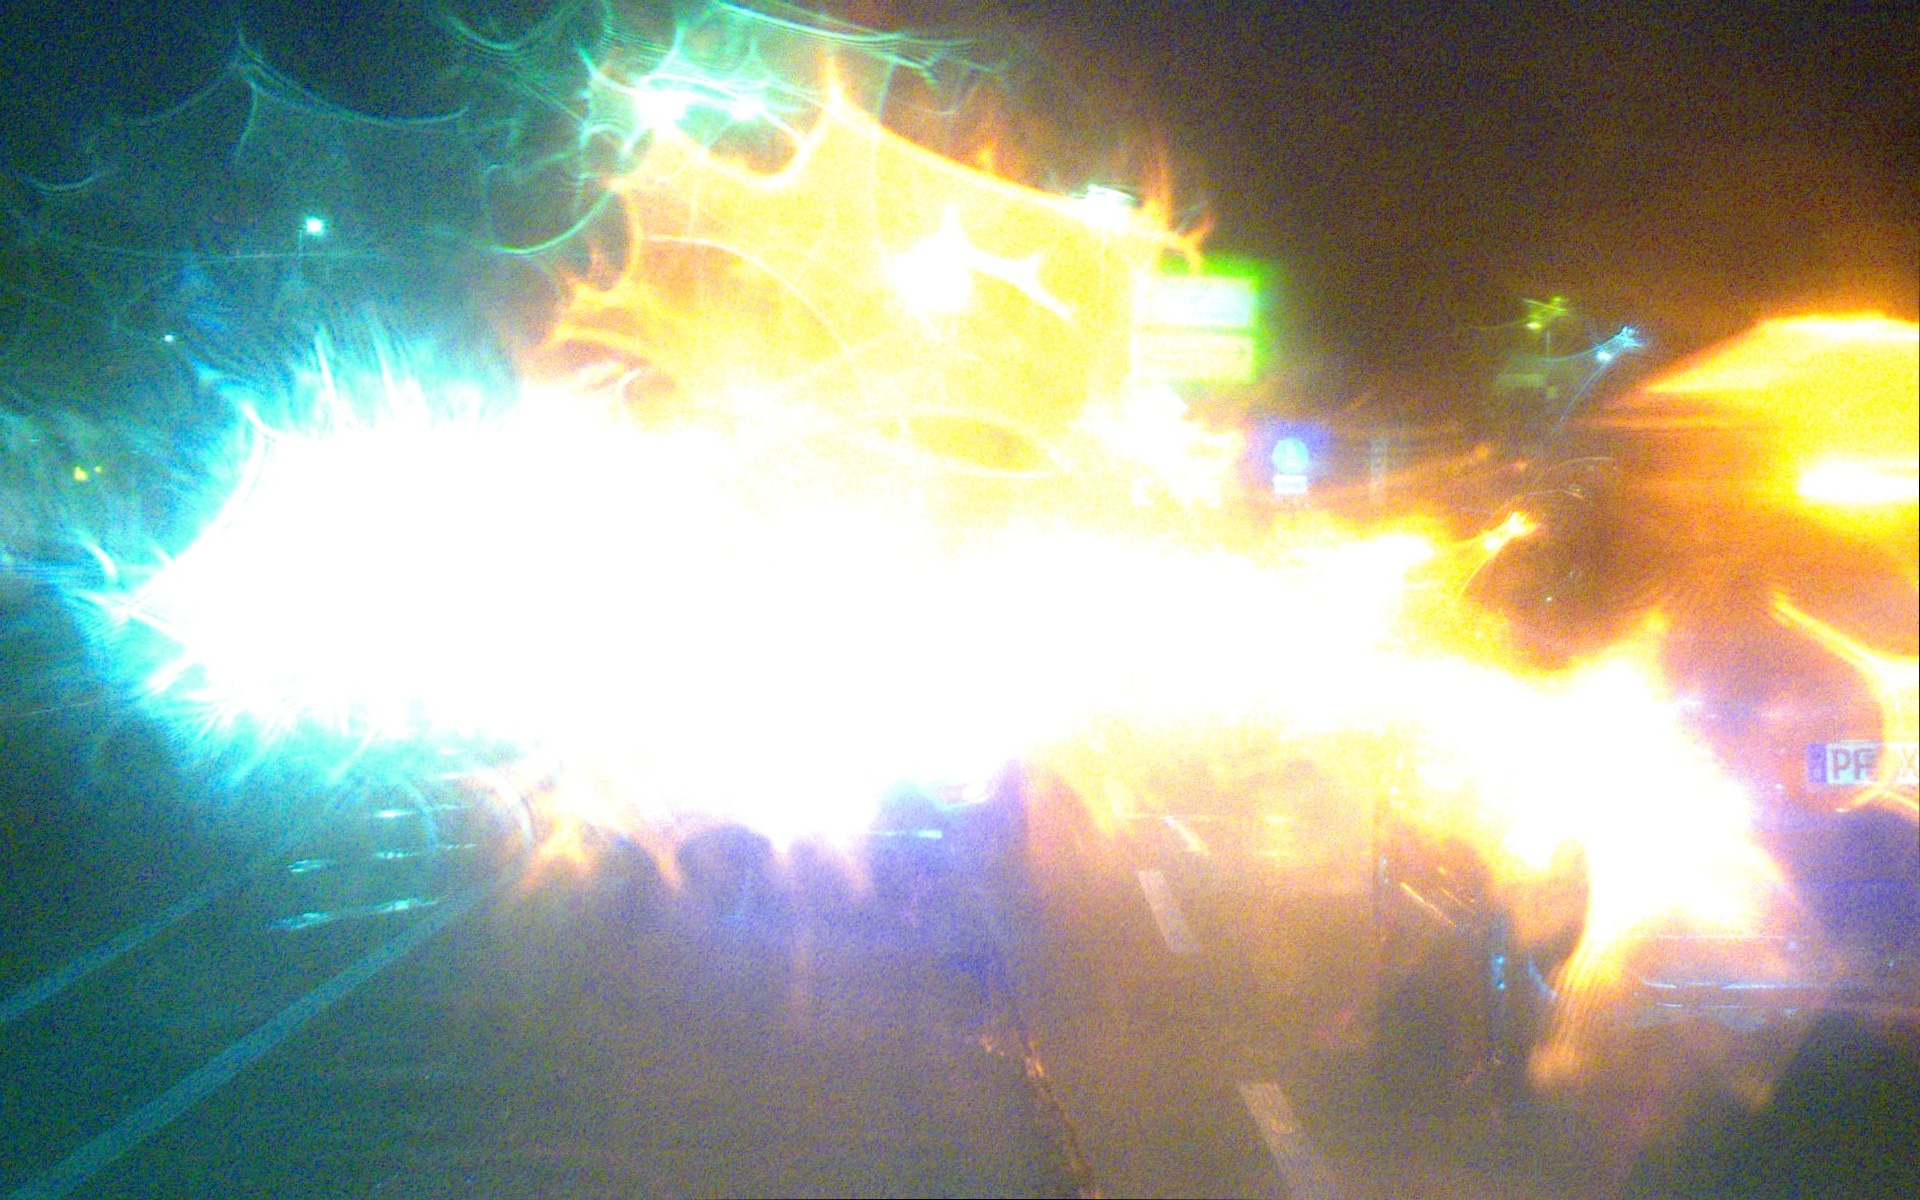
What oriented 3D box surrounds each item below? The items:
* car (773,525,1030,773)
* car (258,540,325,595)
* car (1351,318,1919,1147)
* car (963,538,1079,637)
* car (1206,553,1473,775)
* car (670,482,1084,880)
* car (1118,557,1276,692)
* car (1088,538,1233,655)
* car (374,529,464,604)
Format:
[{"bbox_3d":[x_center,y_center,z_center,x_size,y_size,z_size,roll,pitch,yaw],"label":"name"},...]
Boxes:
[{"bbox_3d":[-0.372,0.291,25.112,1.708,1.632,3.730,-1,1,1],"label":"car"},{"bbox_3d":[-23.367,-1.151,120.028,1.993,1.886,4.744,0,1,-15],"label":"car"},{"bbox_3d":[2.336,0.266,10.275,1.942,1.965,4.218,1,1,2],"label":"car"},{"bbox_3d":[0.899,-0.200,52.558,1.663,1.445,4.050,0,0,0],"label":"car"},{"bbox_3d":[2.740,0.408,25.588,1.768,1.445,4.218,1,1,4],"label":"car"},{"bbox_3d":[-0.336,0.314,16.208,1.694,1.624,3.853,1,1,0],"label":"car"},{"bbox_3d":[2.645,0.244,39.054,1.663,1.445,4.050,0,1,2],"label":"car"},{"bbox_3d":[2.616,-0.080,45.575,1.663,1.445,4.050,0,1,0],"label":"car"},{"bbox_3d":[-14.260,-0.913,90.480,1.993,1.905,4.744,0,1,-13],"label":"car"}]
